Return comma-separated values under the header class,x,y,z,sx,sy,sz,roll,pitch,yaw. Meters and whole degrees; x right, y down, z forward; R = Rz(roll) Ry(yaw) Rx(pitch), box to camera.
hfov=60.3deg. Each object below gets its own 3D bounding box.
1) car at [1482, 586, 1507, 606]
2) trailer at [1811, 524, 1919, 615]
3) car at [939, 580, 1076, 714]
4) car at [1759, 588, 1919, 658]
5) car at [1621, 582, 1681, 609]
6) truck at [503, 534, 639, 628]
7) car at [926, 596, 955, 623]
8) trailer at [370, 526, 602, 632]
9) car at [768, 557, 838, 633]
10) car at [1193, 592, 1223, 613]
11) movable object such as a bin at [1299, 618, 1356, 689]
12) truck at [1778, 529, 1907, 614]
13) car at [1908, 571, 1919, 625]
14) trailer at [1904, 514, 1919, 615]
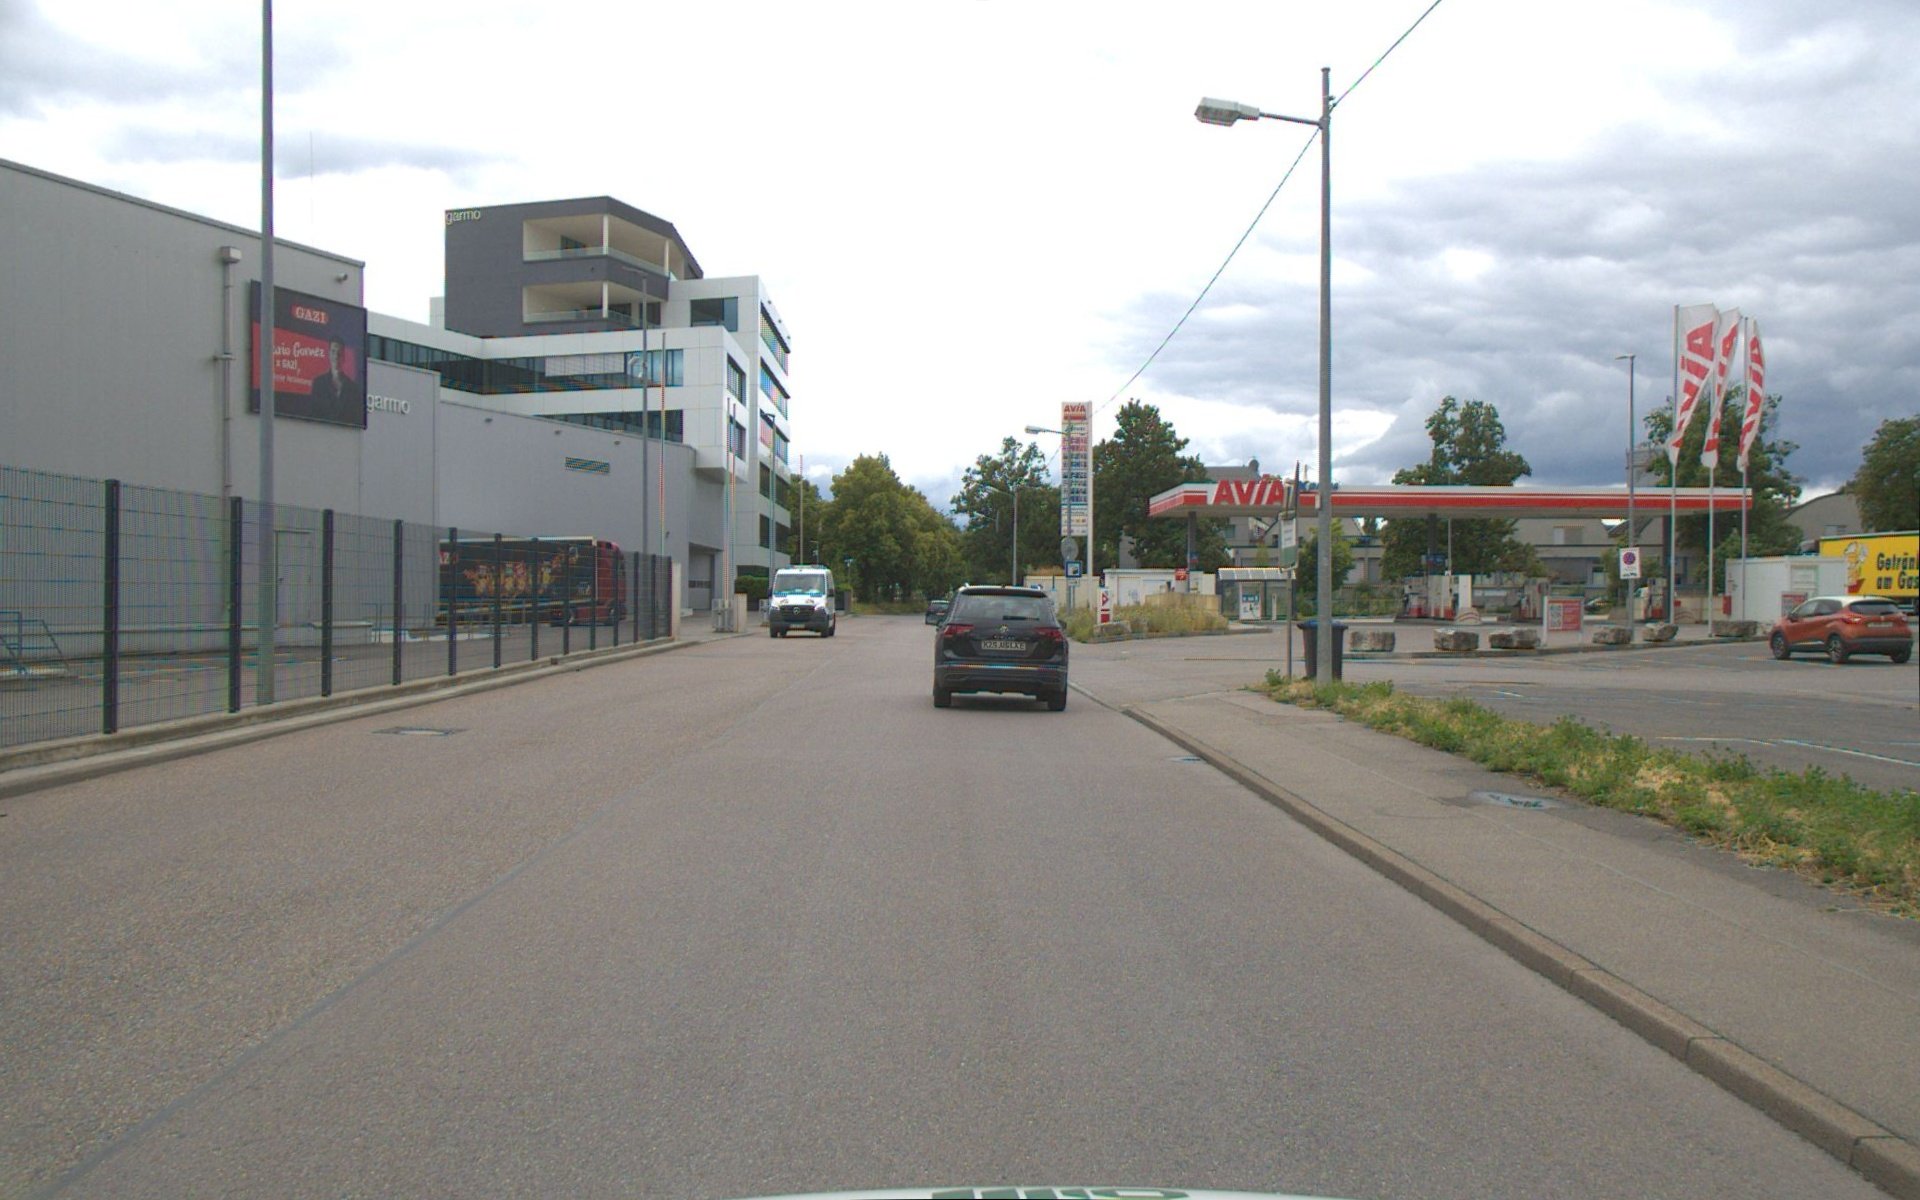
class,x,y,z,sx,sy,sz,roll,pitch,yaw
car,42.822,-0.342,132.437,1.864,1.547,4.066,-1,1,18
trailer,43.181,-1.337,73.466,2.939,3.983,14.296,0,0,-2
car,0.646,0.593,22.817,1.703,1.646,3.642,2,0,1
car,21.495,0.537,40.494,1.729,1.598,4.214,1,0,-2
car,45.360,-0.277,108.697,1.922,1.674,4.652,-1,0,-2
truck,-17.827,-0.856,76.326,2.685,4.101,7.095,1,0,19
car,-1.224,0.605,103.792,1.801,1.645,3.999,0,0,-1
trailer,-19.840,-0.857,70.592,2.685,4.101,12.621,1,0,19
car,-5.353,-0.182,57.044,1.953,2.458,5.255,1,0,-1
car,20.004,0.185,133.229,1.951,1.640,4.445,-1,1,14
movable object such as a bin,5.802,0.838,26.122,0.701,1.100,0.661,0,0,-8
truck,42.936,-1.333,80.682,2.897,3.983,6.038,0,0,-2
car,35.927,-0.061,58.444,1.943,1.946,4.949,0,0,-2
trailer,47.038,-1.694,72.340,2.939,4.806,14.296,0,0,-2
